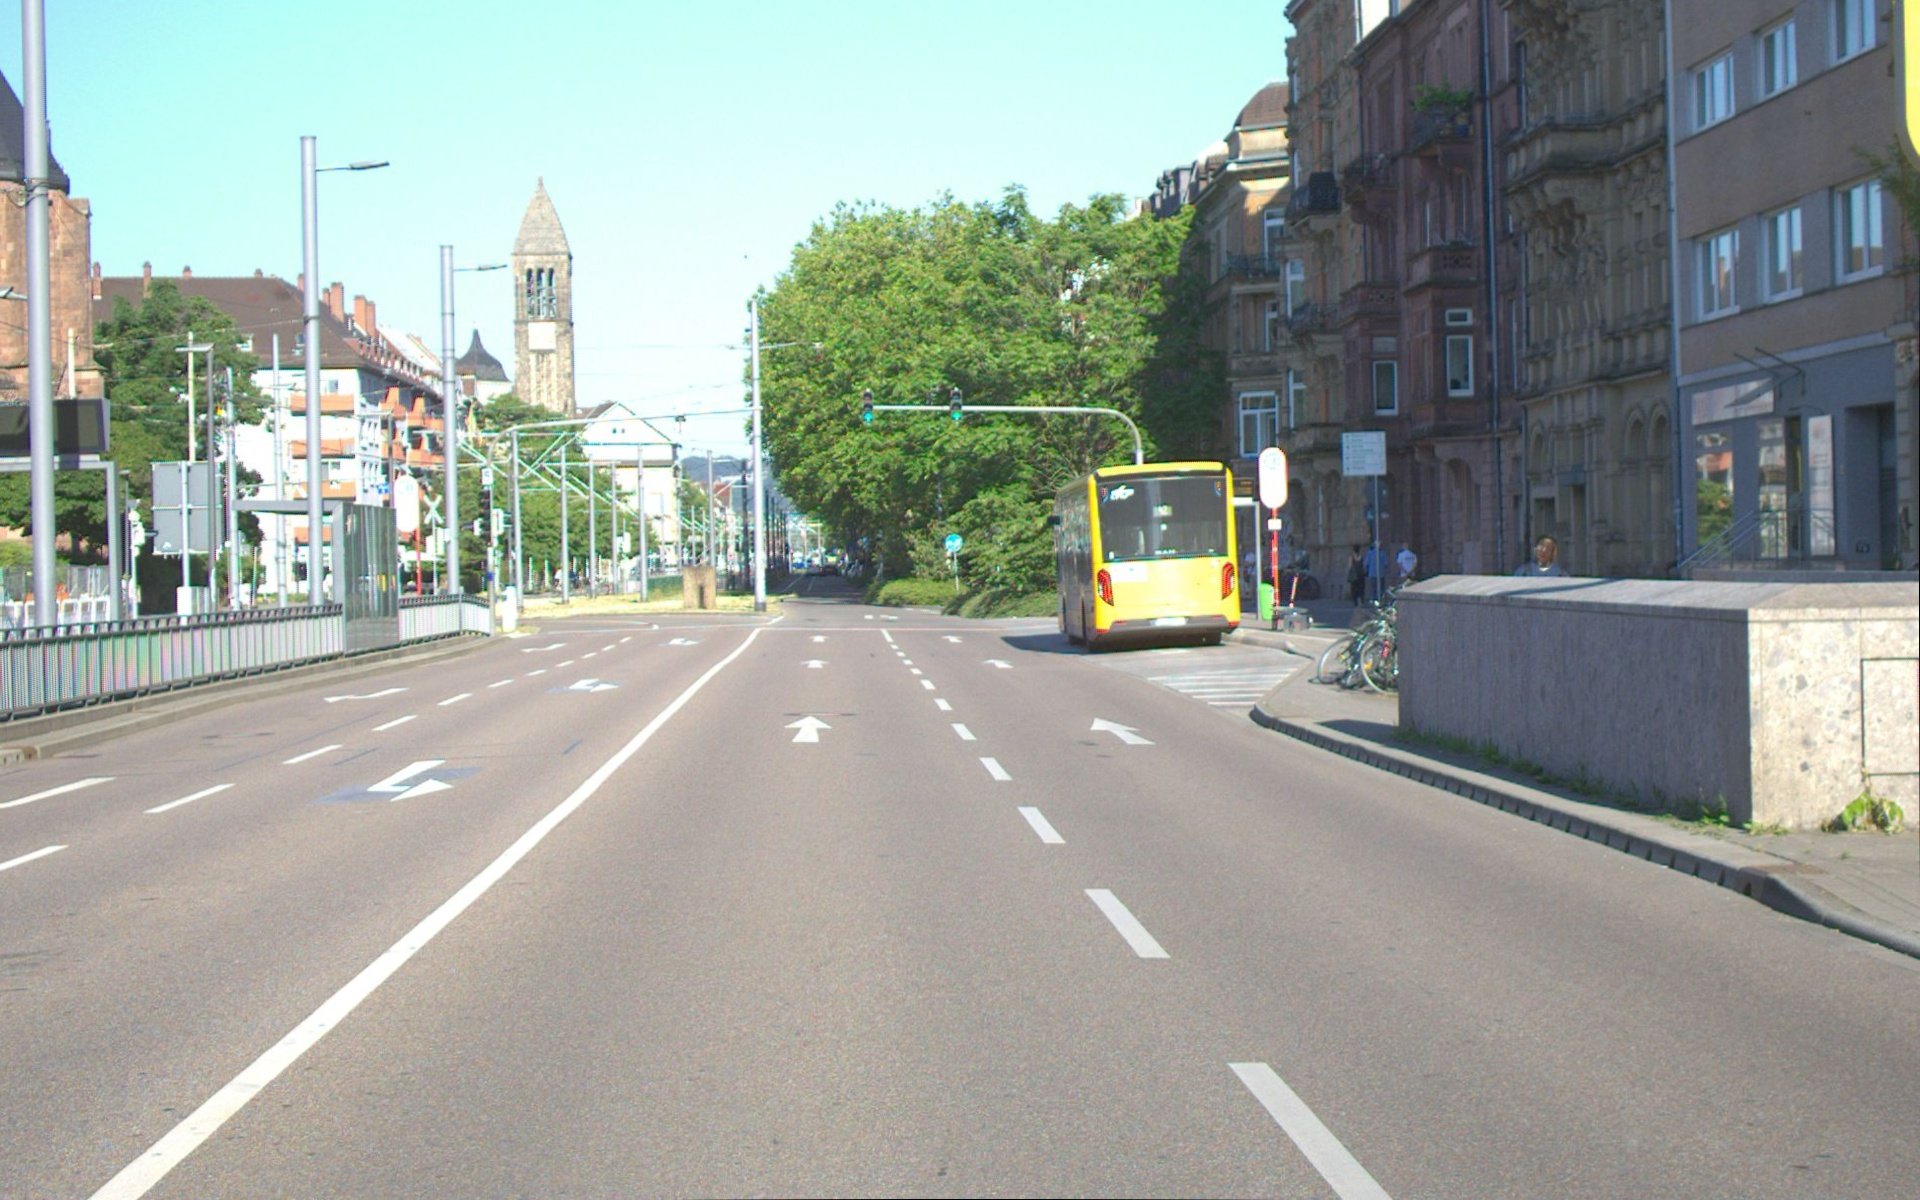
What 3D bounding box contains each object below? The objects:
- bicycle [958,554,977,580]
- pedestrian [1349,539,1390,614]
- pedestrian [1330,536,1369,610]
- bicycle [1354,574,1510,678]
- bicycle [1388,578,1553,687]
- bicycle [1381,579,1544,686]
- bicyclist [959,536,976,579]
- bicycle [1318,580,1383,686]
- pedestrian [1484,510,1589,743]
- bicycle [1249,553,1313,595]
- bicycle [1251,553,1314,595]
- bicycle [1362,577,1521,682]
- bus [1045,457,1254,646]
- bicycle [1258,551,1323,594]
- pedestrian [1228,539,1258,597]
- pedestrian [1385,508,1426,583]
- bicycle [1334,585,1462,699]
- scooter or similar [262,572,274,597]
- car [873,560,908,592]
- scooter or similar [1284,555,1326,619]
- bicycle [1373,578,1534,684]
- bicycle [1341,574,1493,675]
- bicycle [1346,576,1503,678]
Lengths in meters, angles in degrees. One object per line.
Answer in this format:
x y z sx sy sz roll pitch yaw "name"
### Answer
0.323 -1.417 147.835 0.641 1.044 2.360 -2 0 -3 "bicycle"
10.566 -0.610 88.724 0.822 1.923 1.137 -1 1 -2 "pedestrian"
10.310 -0.728 90.952 0.822 1.923 1.137 -1 1 -2 "pedestrian"
5.537 0.304 40.366 1.765 1.183 0.470 0 1 -2 "bicycle"
5.687 0.362 38.342 1.765 1.183 0.470 0 1 -2 "bicycle"
5.670 0.365 38.849 1.765 1.183 0.470 0 1 -2 "bicycle"
0.317 -1.822 147.827 0.641 1.808 1.052 -2 0 -3 "bicyclist"
4.449 0.362 39.256 0.468 1.143 1.771 0 2 -2 "bicycle"
5.134 0.223 30.645 0.750 2.006 0.698 -2 3 -2 "pedestrian"
10.035 -0.813 107.364 1.883 1.234 0.491 -2 -1 -14 "bicycle"
10.126 -0.809 107.985 1.883 1.234 0.491 -2 -1 -14 "bicycle"
5.577 0.335 39.868 1.765 1.183 0.470 0 1 -2 "bicycle"
3.433 -0.920 65.761 2.715 3.170 12.542 -2 1 -2 "bus"
10.268 -0.848 106.833 1.883 1.234 0.491 -2 -1 -14 "bicycle"
8.303 -0.942 100.765 0.702 1.650 1.137 -1 1 -2 "pedestrian"
11.497 -1.403 88.774 0.822 1.923 1.137 -1 1 -2 "pedestrian"
4.646 0.428 36.556 0.468 1.143 1.771 -1 2 -25 "bicycle"
-37.985 -0.863 188.690 0.401 1.256 1.231 -2 3 -2 "scooter or similar"
-3.492 -1.222 171.645 1.643 1.506 4.183 -2 1 -2 "car"
6.932 -0.257 69.113 0.431 1.245 1.295 -3 0 -11 "scooter or similar"
5.645 0.351 39.368 1.765 1.183 0.470 0 1 -2 "bicycle"
5.495 0.292 41.366 1.765 1.183 0.470 0 1 -2 "bicycle"
5.519 0.317 40.864 1.791 1.183 0.470 0 1 -2 "bicycle"
